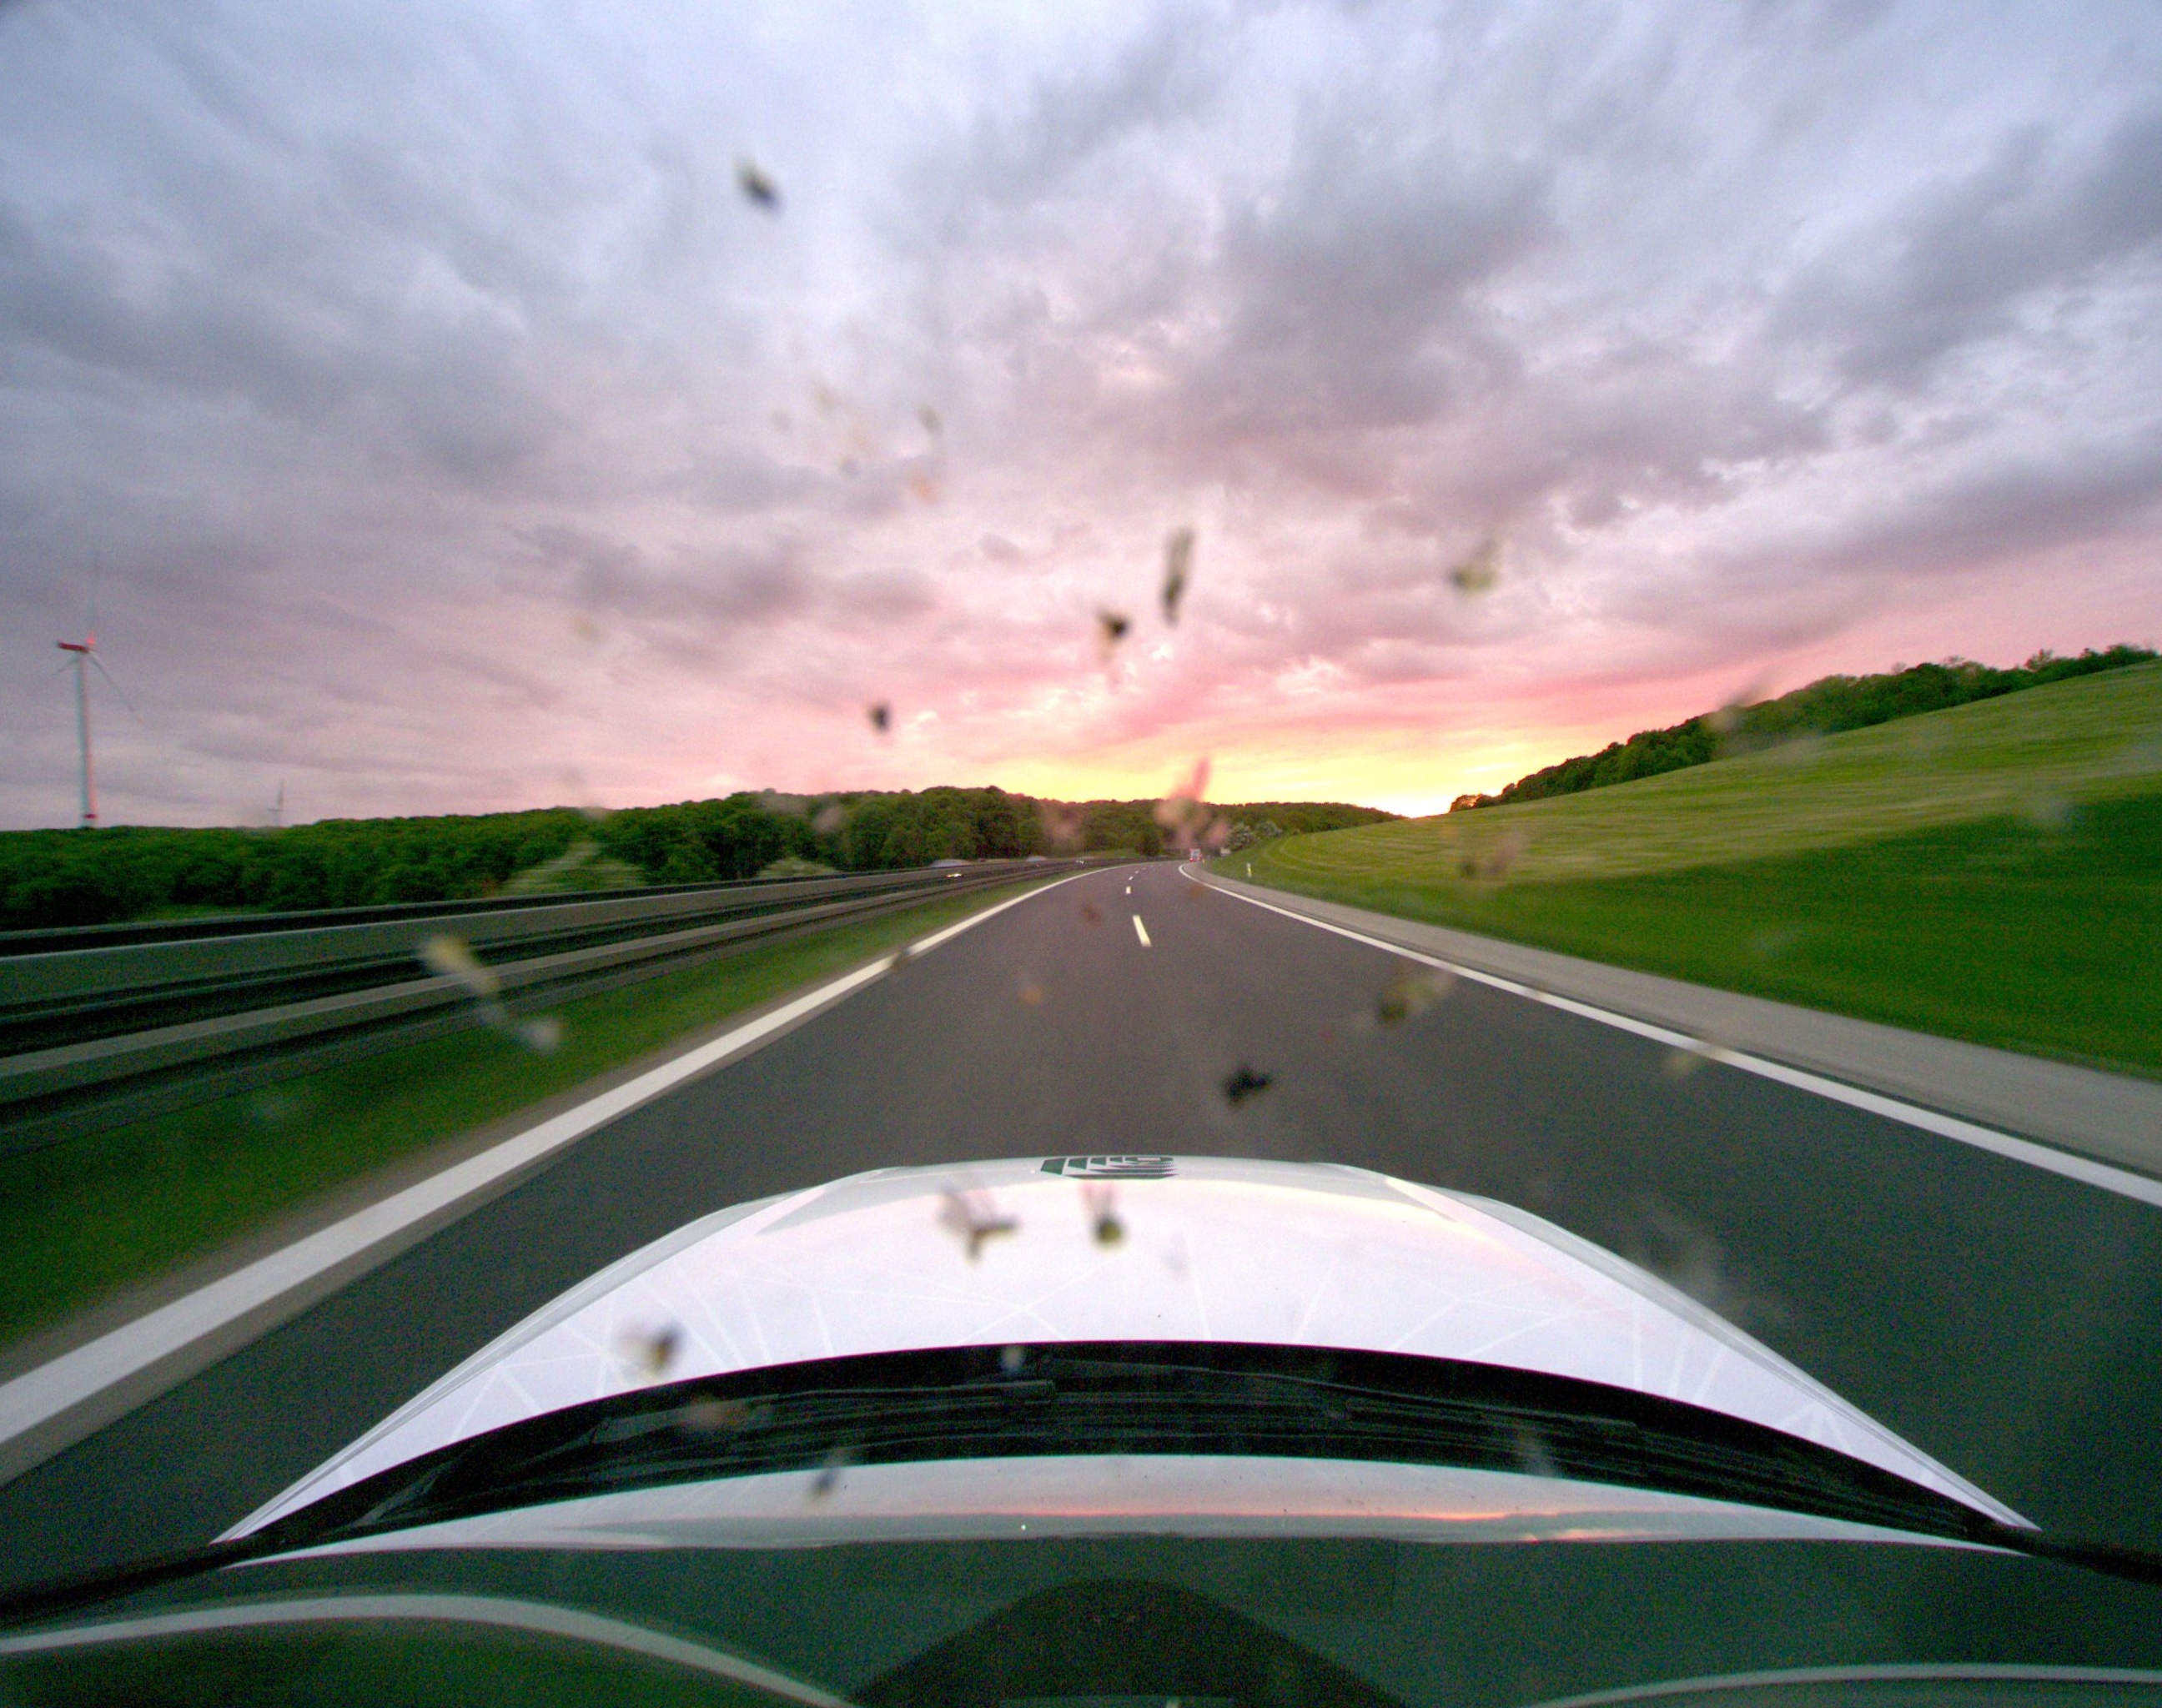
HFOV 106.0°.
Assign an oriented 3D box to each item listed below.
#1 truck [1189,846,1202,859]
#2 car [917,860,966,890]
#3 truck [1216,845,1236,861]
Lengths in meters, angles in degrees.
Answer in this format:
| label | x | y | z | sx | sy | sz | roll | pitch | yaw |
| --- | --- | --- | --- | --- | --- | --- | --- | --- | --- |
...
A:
| label | x | y | z | sx | sy | sz | roll | pitch | yaw |
| --- | --- | --- | --- | --- | --- | --- | --- | --- | --- |
| truck | 24.082 | -0.286 | 171.433 | 2.260 | 2.665 | 5.254 | -3 | 0 | 13 |
| car | -7.609 | 1.113 | 44.700 | 1.858 | 1.515 | 4.002 | 0 | 0 | 2 |
| truck | 42.962 | -0.245 | 240.509 | 3.926 | 4.287 | 14.388 | -2 | -1 | 18 |
